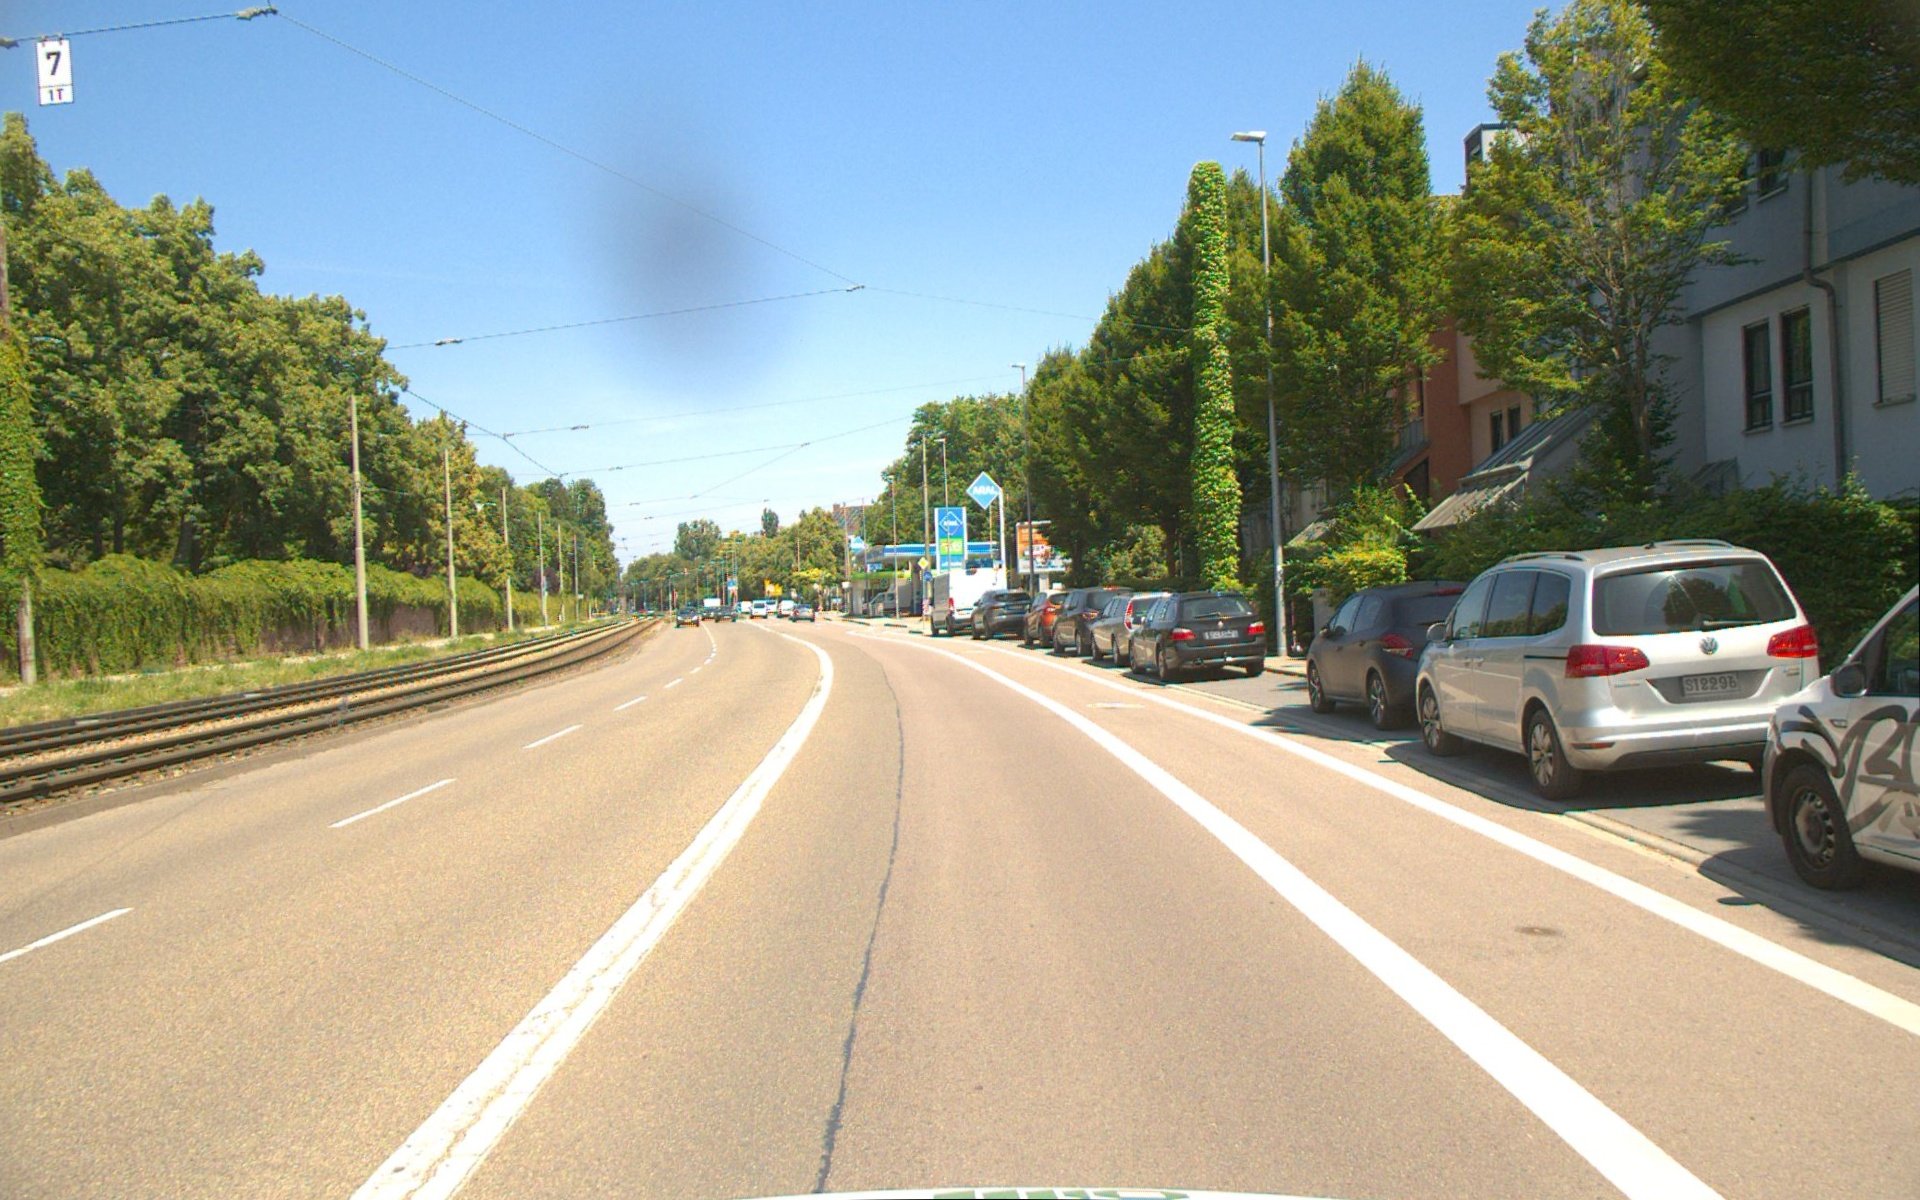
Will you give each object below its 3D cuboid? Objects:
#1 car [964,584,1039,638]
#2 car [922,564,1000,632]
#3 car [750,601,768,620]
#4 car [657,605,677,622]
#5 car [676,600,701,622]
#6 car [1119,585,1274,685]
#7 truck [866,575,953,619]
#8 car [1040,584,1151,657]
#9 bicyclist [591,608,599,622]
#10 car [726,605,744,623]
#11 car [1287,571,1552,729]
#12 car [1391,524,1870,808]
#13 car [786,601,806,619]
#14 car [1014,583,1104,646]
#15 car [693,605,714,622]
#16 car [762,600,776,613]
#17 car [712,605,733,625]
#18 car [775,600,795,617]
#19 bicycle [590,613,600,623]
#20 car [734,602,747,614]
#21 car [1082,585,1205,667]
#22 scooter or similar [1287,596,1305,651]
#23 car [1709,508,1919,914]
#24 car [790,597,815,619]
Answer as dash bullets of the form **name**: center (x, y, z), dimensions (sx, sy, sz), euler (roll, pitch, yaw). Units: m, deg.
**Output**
- **car**: center (1.375, 0.375, 57.157), dimensions (1.724, 1.658, 4.314), euler (-5, 1, -9)
- **car**: center (-0.020, -0.068, 67.264), dimensions (1.965, 2.499, 6.094), euler (-5, 1, -10)
- **car**: center (-21.267, 1.082, 175.235), dimensions (1.723, 1.907, 4.314), euler (-1, 0, -9)
- **car**: center (-32.999, 1.521, 186.229), dimensions (1.727, 1.658, 4.307), euler (-5, 1, -14)
- **car**: center (-20.369, 0.807, 124.331), dimensions (1.724, 1.535, 4.314), euler (-5, 1, -9)
- **car**: center (4.195, 0.567, 30.104), dimensions (1.674, 1.518, 5.034), euler (-5, 1, -4)
- **truck**: center (-4.634, -0.304, 151.226), dimensions (7.810, 3.665, 2.661), euler (-2, 0, -3)
- **car**: center (3.304, 0.491, 41.278), dimensions (1.676, 1.589, 4.314), euler (-5, 1, -9)
- **bicyclist**: center (-44.370, 1.831, 200.834), dimensions (0.668, 1.601, 0.795), euler (-7, 0, -3)
- **car**: center (-23.502, 1.452, 172.533), dimensions (1.723, 1.658, 4.316), euler (-5, 1, -7)
- **car**: center (5.008, 0.479, 18.618), dimensions (1.552, 1.448, 4.178), euler (-5, 1, -3)
- **car**: center (5.027, 0.406, 13.253), dimensions (1.803, 1.723, 4.778), euler (-5, 1, 0)
- **car**: center (-15.927, 0.959, 160.758), dimensions (1.723, 1.658, 4.316), euler (-5, 1, -7)
- **car**: center (2.767, 0.387, 47.190), dimensions (1.675, 1.589, 4.316), euler (-5, 1, -8)
- **car**: center (-27.612, 1.496, 177.667), dimensions (1.727, 1.658, 4.307), euler (-5, 1, -14)
- **car**: center (-27.566, 0.950, 238.379), dimensions (1.724, 1.658, 4.314), euler (-5, 1, -9)
- **car**: center (-21.652, 1.387, 150.895), dimensions (1.724, 1.658, 4.314), euler (-5, 1, -9)
- **car**: center (-18.709, 0.939, 176.692), dimensions (1.724, 1.658, 4.314), euler (-5, 1, -9)
- **bicycle**: center (-44.329, 2.204, 200.825), dimensions (0.668, 1.072, 2.008), euler (-7, 0, -3)
- **car**: center (-33.882, 1.244, 255.401), dimensions (1.724, 1.658, 4.314), euler (-5, 1, -9)
- **car**: center (3.886, 0.520, 35.854), dimensions (1.674, 1.518, 4.726), euler (-5, 1, -5)
- **scooter or similar**: center (6.585, 0.454, 32.405), dimensions (0.327, 1.049, 1.083), euler (0, 0, 10)
- **car**: center (5.189, 0.443, 7.060), dimensions (1.804, 1.825, 4.352), euler (-5, 1, -2)
- **car**: center (-13.124, 0.641, 137.432), dimensions (1.724, 1.658, 4.314), euler (-5, 1, -9)
